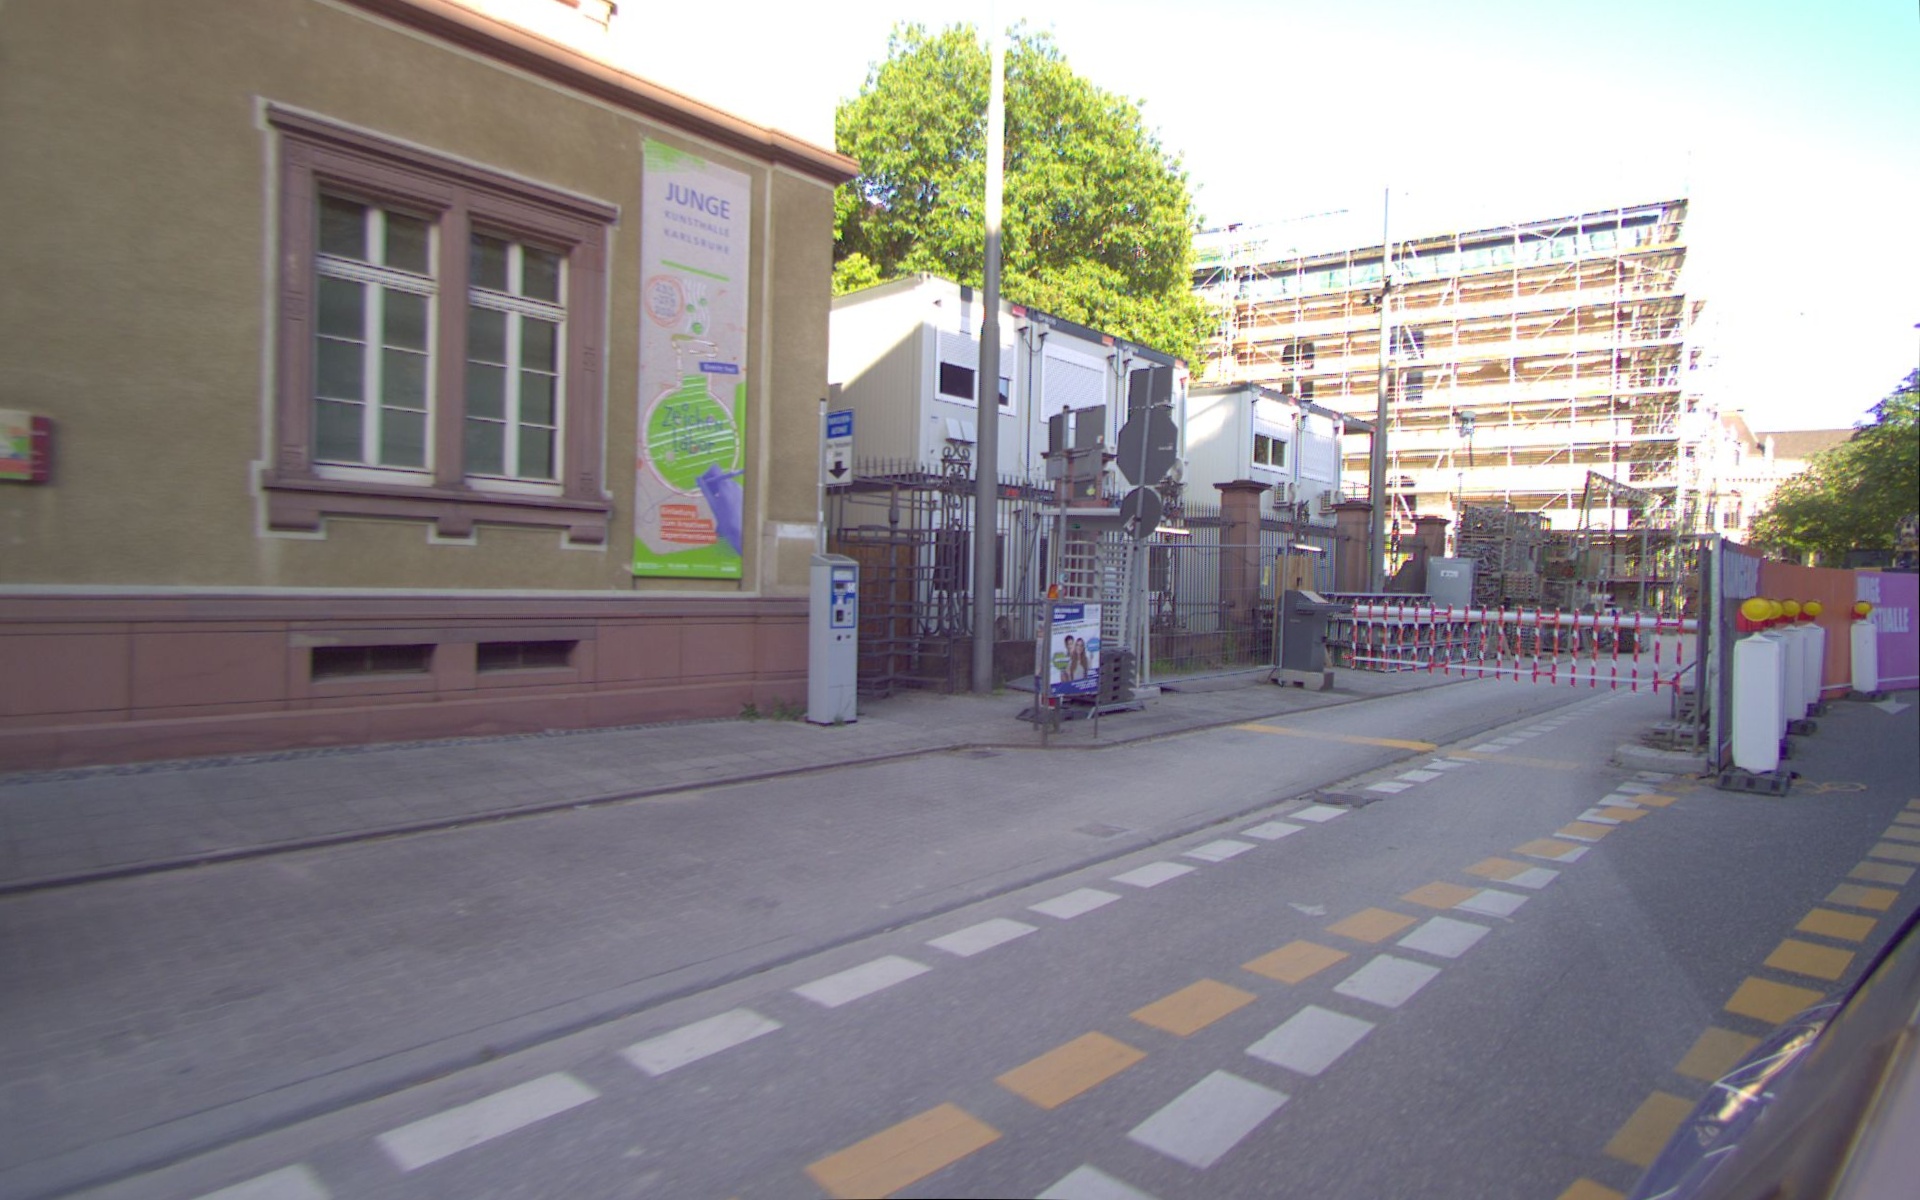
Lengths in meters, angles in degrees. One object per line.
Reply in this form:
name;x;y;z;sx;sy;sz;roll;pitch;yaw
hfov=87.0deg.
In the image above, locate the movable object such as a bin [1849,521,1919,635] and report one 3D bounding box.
movable object such as a bin;29.682;-0.638;31.236;3.162;3.340;4.318;4;3;43
